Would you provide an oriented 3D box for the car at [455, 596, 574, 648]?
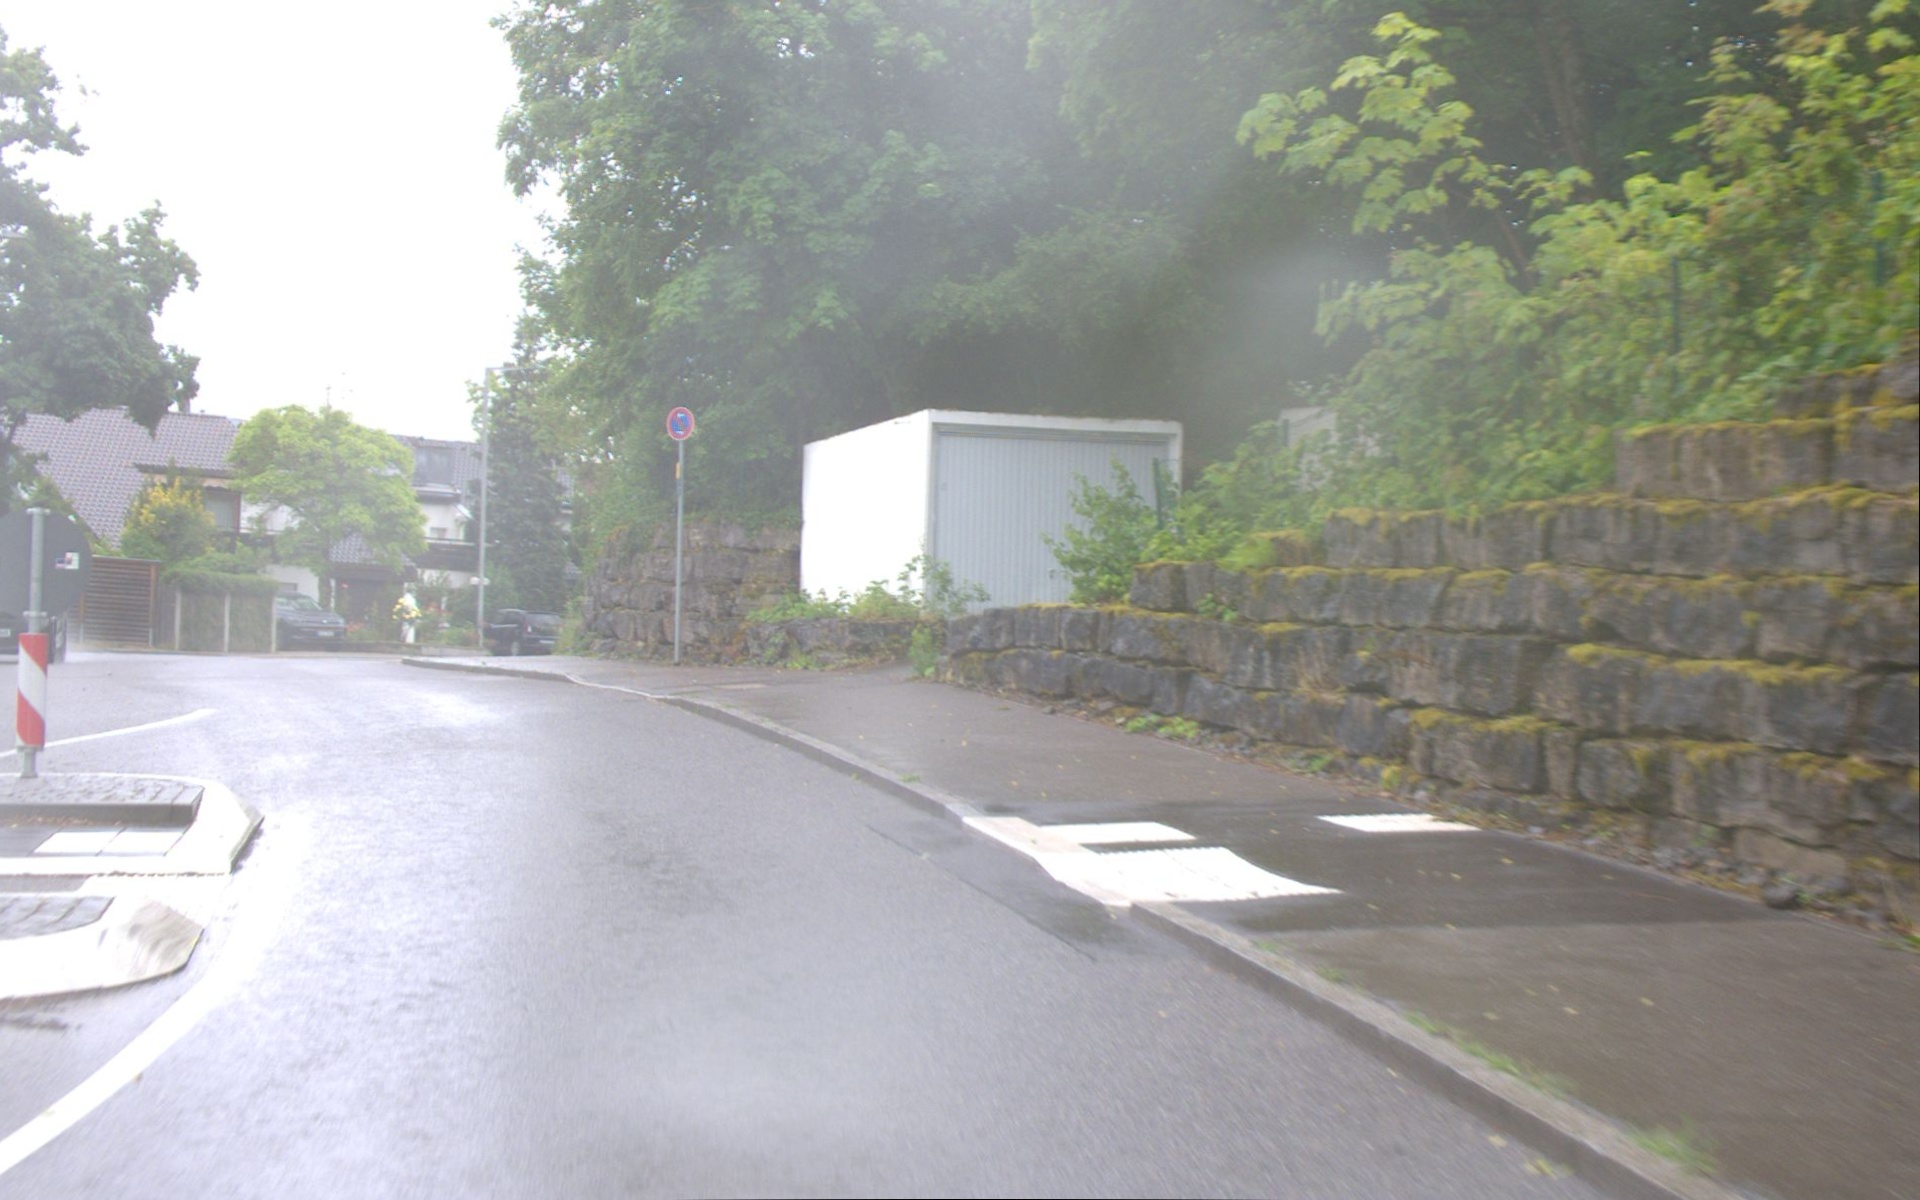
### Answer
[{"bbox_3d":[-13.425,0.659,103.513,1.934,1.385,4.000,4,-2,-33],"label":"car"}]

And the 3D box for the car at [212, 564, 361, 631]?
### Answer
[{"bbox_3d":[-18.621,-0.075,94.964,3.997,1.626,2.009,3,-1,43],"label":"car"}]

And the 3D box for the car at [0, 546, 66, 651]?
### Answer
[{"bbox_3d":[-14.475,-0.028,51.888,1.831,1.515,4.628,-1,0,-14],"label":"car"}]
